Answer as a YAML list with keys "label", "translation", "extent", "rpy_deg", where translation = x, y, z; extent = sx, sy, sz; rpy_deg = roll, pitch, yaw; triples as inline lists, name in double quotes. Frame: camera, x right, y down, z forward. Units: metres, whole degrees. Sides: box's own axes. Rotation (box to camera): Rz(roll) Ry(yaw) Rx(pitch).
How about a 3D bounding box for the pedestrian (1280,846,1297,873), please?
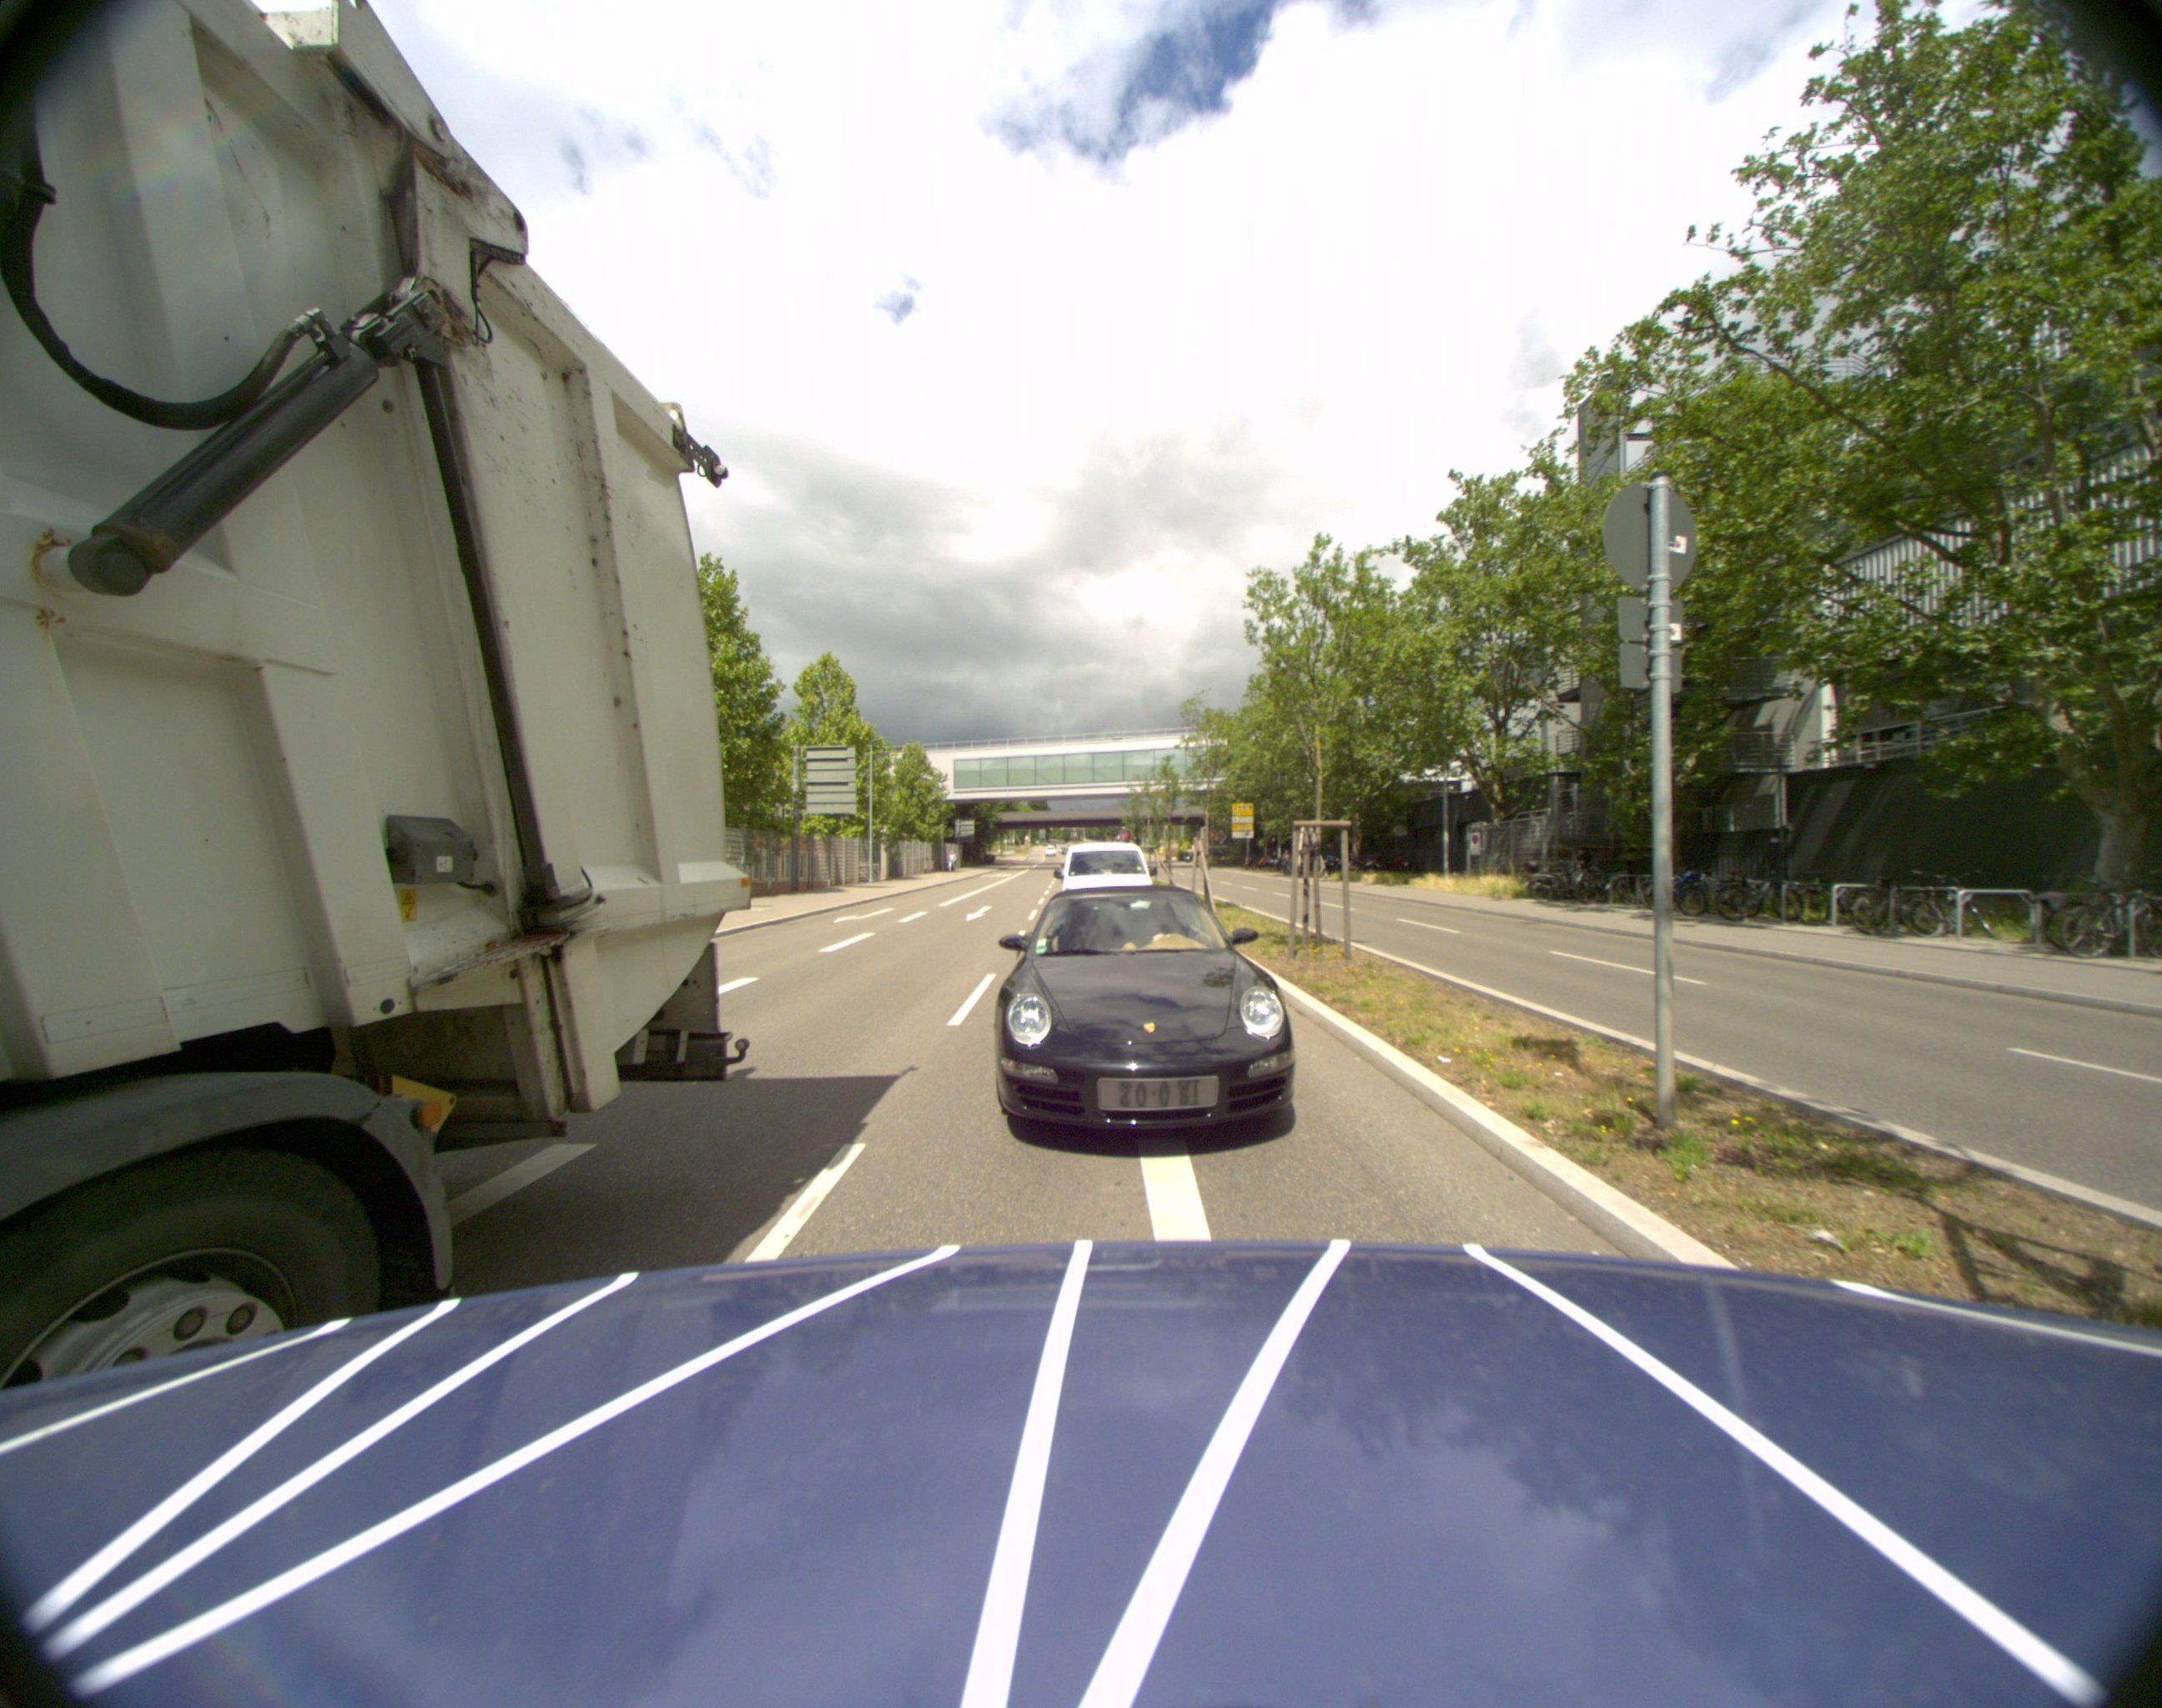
- label: "pedestrian"
  translation: [13.251, 0.334, 48.489]
  extent: [0.900, 1.710, 0.673]
  rpy_deg: [-1, 1, 1]

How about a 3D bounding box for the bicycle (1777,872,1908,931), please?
- label: "bicycle"
  translation: [15.039, 0.930, 15.024]
  extent: [2.129, 1.104, 0.382]
  rpy_deg: [-1, 1, 3]

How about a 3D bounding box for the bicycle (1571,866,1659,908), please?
- label: "bicycle"
  translation: [14.820, 0.919, 21.101]
  extent: [2.129, 1.104, 0.382]
  rpy_deg: [-1, 1, 3]

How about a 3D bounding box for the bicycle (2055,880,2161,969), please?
- label: "bicycle"
  translation: [14.351, 0.931, 10.241]
  extent: [1.993, 1.121, 0.382]
  rpy_deg: [-1, 1, -1]

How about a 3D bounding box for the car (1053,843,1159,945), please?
- label: "car"
  translation: [0.489, 0.713, 16.096]
  extent: [1.862, 1.800, 4.906]
  rpy_deg: [-1, 0, 1]

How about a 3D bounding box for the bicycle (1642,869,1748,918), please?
- label: "bicycle"
  translation: [14.503, 0.928, 17.974]
  extent: [2.129, 1.104, 0.382]
  rpy_deg: [-1, 1, 3]

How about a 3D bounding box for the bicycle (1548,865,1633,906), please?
- label: "bicycle"
  translation: [14.751, 0.906, 22.024]
  extent: [2.129, 1.104, 0.382]
  rpy_deg: [-1, 1, 3]

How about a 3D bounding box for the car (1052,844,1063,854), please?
- label: "car"
  translation: [-4.842, -1.013, 157.084]
  extent: [1.925, 2.082, 4.657]
  rpy_deg: [-1, 0, 2]

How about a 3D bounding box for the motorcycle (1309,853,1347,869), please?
- label: "motorcycle"
  translation: [15.483, 0.452, 47.645]
  extent: [2.133, 0.963, 0.534]
  rpy_deg: [-1, 0, 1]

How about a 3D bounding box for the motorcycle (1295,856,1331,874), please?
- label: "motorcycle"
  translation: [14.959, 0.699, 49.046]
  extent: [2.133, 1.131, 0.534]
  rpy_deg: [-1, 0, 1]

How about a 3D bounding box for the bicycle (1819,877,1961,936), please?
- label: "bicycle"
  translation: [15.009, 0.973, 14.118]
  extent: [2.129, 1.025, 0.382]
  rpy_deg: [-1, 1, 3]

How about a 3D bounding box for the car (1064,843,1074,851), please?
- label: "car"
  translation: [-2.667, -1.547, 167.851]
  extent: [1.862, 1.800, 4.357]
  rpy_deg: [-3, 0, 1]

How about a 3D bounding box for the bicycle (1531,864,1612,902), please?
- label: "bicycle"
  translation: [14.747, 0.870, 22.866]
  extent: [2.129, 1.104, 0.382]
  rpy_deg: [-1, 1, 3]

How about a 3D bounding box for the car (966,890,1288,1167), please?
- label: "car"
  translation: [0.275, 1.036, 6.020]
  extent: [1.710, 1.280, 3.806]
  rpy_deg: [-1, 0, 1]

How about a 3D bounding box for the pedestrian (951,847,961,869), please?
- label: "pedestrian"
  translation: [-10.829, 0.366, 65.909]
  extent: [0.739, 1.901, 0.658]
  rpy_deg: [-2, 1, -1]

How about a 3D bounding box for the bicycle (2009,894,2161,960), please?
- label: "bicycle"
  translation: [14.954, 1.075, 11.243]
  extent: [1.993, 0.885, 0.382]
  rpy_deg: [-1, 1, -1]

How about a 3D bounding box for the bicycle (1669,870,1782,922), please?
- label: "bicycle"
  translation: [14.477, 0.936, 17.087]
  extent: [2.129, 1.104, 0.382]
  rpy_deg: [-1, 1, 3]

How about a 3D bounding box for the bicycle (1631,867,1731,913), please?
- label: "bicycle"
  translation: [15.063, 0.899, 19.089]
  extent: [2.129, 1.104, 0.382]
  rpy_deg: [-1, 1, 3]

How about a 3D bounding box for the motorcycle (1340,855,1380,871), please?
- label: "motorcycle"
  translation: [16.276, 0.540, 44.324]
  extent: [2.133, 0.880, 0.534]
  rpy_deg: [-1, 0, 1]

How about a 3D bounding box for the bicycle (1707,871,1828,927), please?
- label: "bicycle"
  translation: [14.498, 0.947, 16.063]
  extent: [2.129, 1.104, 0.382]
  rpy_deg: [-1, 1, 3]

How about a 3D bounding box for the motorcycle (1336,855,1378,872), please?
- label: "motorcycle"
  translation: [15.376, 0.547, 42.361]
  extent: [2.133, 0.893, 0.534]
  rpy_deg: [-1, 0, 1]

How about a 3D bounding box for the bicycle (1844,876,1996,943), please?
- label: "bicycle"
  translation: [14.576, 0.960, 13.224]
  extent: [2.129, 1.089, 0.382]
  rpy_deg: [-1, 1, 3]

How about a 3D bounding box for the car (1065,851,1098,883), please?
- label: "car"
  translation: [0.015, 0.698, 42.646]
  extent: [1.747, 1.647, 3.545]
  rpy_deg: [-1, 0, 0]

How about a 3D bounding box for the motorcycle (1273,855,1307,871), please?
- label: "motorcycle"
  translation: [13.930, 0.606, 50.635]
  extent: [2.133, 0.963, 0.534]
  rpy_deg: [-1, 0, 1]

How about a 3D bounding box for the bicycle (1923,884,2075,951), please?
- label: "bicycle"
  translation: [14.750, 1.017, 12.223]
  extent: [1.993, 0.992, 0.382]
  rpy_deg: [-1, 1, -1]
